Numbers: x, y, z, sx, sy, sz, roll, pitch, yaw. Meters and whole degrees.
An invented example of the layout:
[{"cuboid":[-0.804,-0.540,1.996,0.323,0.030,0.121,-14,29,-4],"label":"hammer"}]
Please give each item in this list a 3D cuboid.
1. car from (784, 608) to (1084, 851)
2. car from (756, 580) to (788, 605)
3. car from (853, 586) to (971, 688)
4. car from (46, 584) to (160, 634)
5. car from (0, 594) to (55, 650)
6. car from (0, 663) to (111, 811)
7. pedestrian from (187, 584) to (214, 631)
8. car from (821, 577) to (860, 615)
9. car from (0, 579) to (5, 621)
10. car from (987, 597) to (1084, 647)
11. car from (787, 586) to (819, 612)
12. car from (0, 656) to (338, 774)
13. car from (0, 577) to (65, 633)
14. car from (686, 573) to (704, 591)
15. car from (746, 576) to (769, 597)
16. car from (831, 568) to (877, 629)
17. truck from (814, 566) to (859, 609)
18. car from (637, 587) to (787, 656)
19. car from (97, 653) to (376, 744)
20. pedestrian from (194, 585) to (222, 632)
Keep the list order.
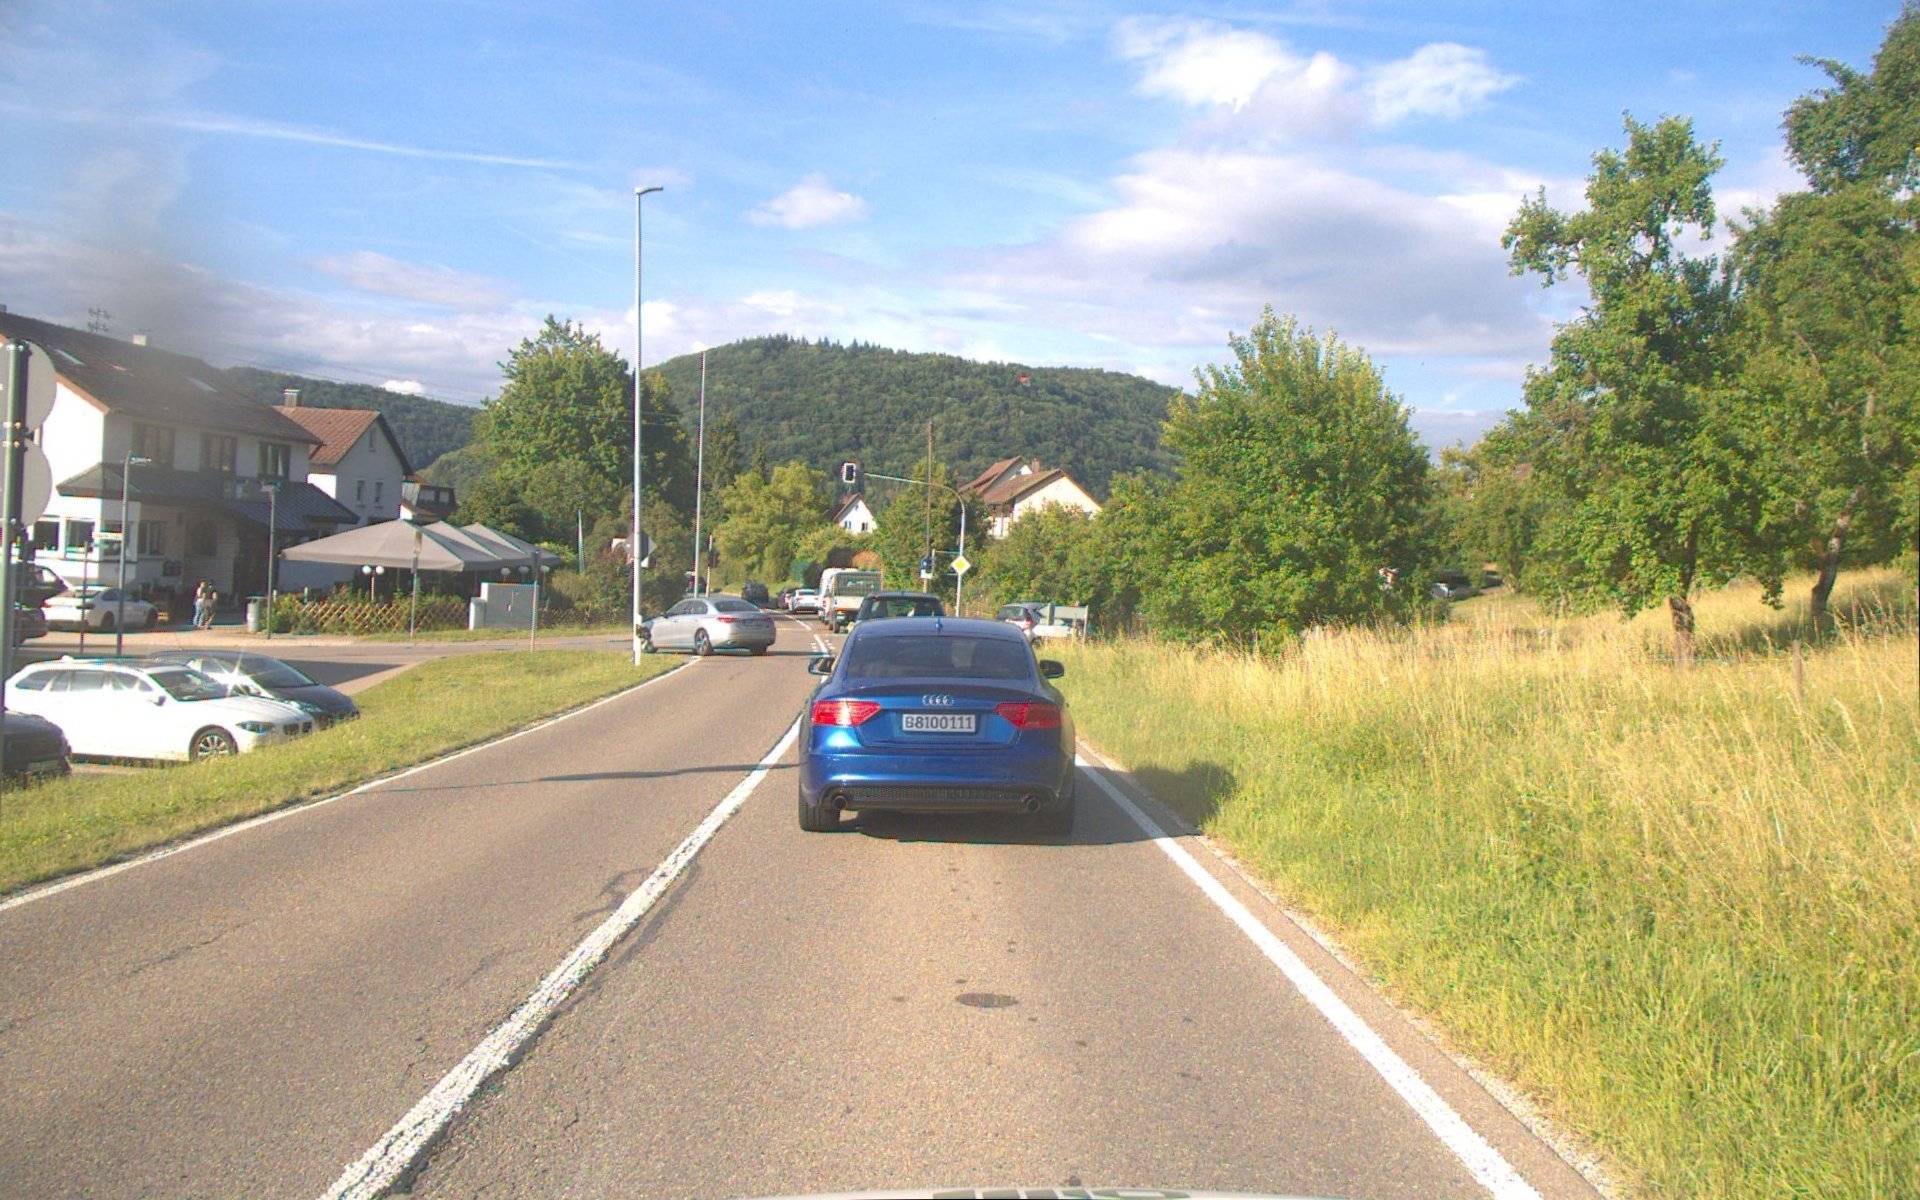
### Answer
[{"cuboid":[-0.025,0.783,11.729,1.757,1.412,4.002,0,-1,4],"label":"car"},{"cuboid":[-12.253,-0.471,107.821,1.668,1.516,3.515,1,-1,-13],"label":"car"},{"cuboid":[-0.790,0.639,29.650,1.709,1.668,4.002,1,-1,4],"label":"car"},{"cuboid":[-27.096,0.293,52.413,1.524,1.475,3.999,1,-1,-1],"label":"car"},{"cuboid":[-26.906,0.555,44.943,3.904,1.467,1.920,1,-1,20],"label":"car"},{"cuboid":[-13.062,1.628,20.650,3.939,1.666,2.002,1,-1,11],"label":"car"},{"cuboid":[-25.341,0.258,55.177,0.596,1.529,0.590,1,-1,-1],"label":"pedestrian"},{"cuboid":[-5.550,-0.165,76.829,1.712,1.668,3.996,1,-1,-5],"label":"car"},{"cuboid":[-32.280,-0.045,52.351,1.804,1.378,3.999,1,-1,-1],"label":"car"},{"cuboid":[2.453,0.718,52.974,1.594,1.503,3.725,1,-1,29],"label":"car"},{"cuboid":[-9.352,-0.050,98.425,1.666,1.516,3.519,1,-1,-10],"label":"car"},{"cuboid":[-12.061,1.683,24.940,4.711,1.520,1.882,1,-1,11],"label":"car"},{"cuboid":[-30.078,0.142,51.877,1.848,1.691,3.999,1,-1,-1],"label":"car"},{"cuboid":[-25.278,-1.695,157.823,1.596,1.604,3.670,1,-1,-10],"label":"car"},{"cuboid":[-15.563,-1.037,127.045,1.665,1.516,3.521,1,-1,-7],"label":"car"},{"cuboid":[-4.154,-0.034,64.348,1.712,2.234,3.996,1,-1,-5],"label":"car"},{"cuboid":[-6.169,-0.571,82.249,1.666,1.988,5.908,1,-1,-9],"label":"truck"},{"cuboid":[-6.372,0.530,42.208,1.793,1.668,4.400,2,-1,-39],"label":"car"},{"cuboid":[-12.113,1.622,27.802,3.902,1.333,1.762,1,-1,7],"label":"car"},{"cuboid":[-24.790,0.283,54.541,0.596,1.529,0.590,1,-1,-1],"label":"pedestrian"}]
